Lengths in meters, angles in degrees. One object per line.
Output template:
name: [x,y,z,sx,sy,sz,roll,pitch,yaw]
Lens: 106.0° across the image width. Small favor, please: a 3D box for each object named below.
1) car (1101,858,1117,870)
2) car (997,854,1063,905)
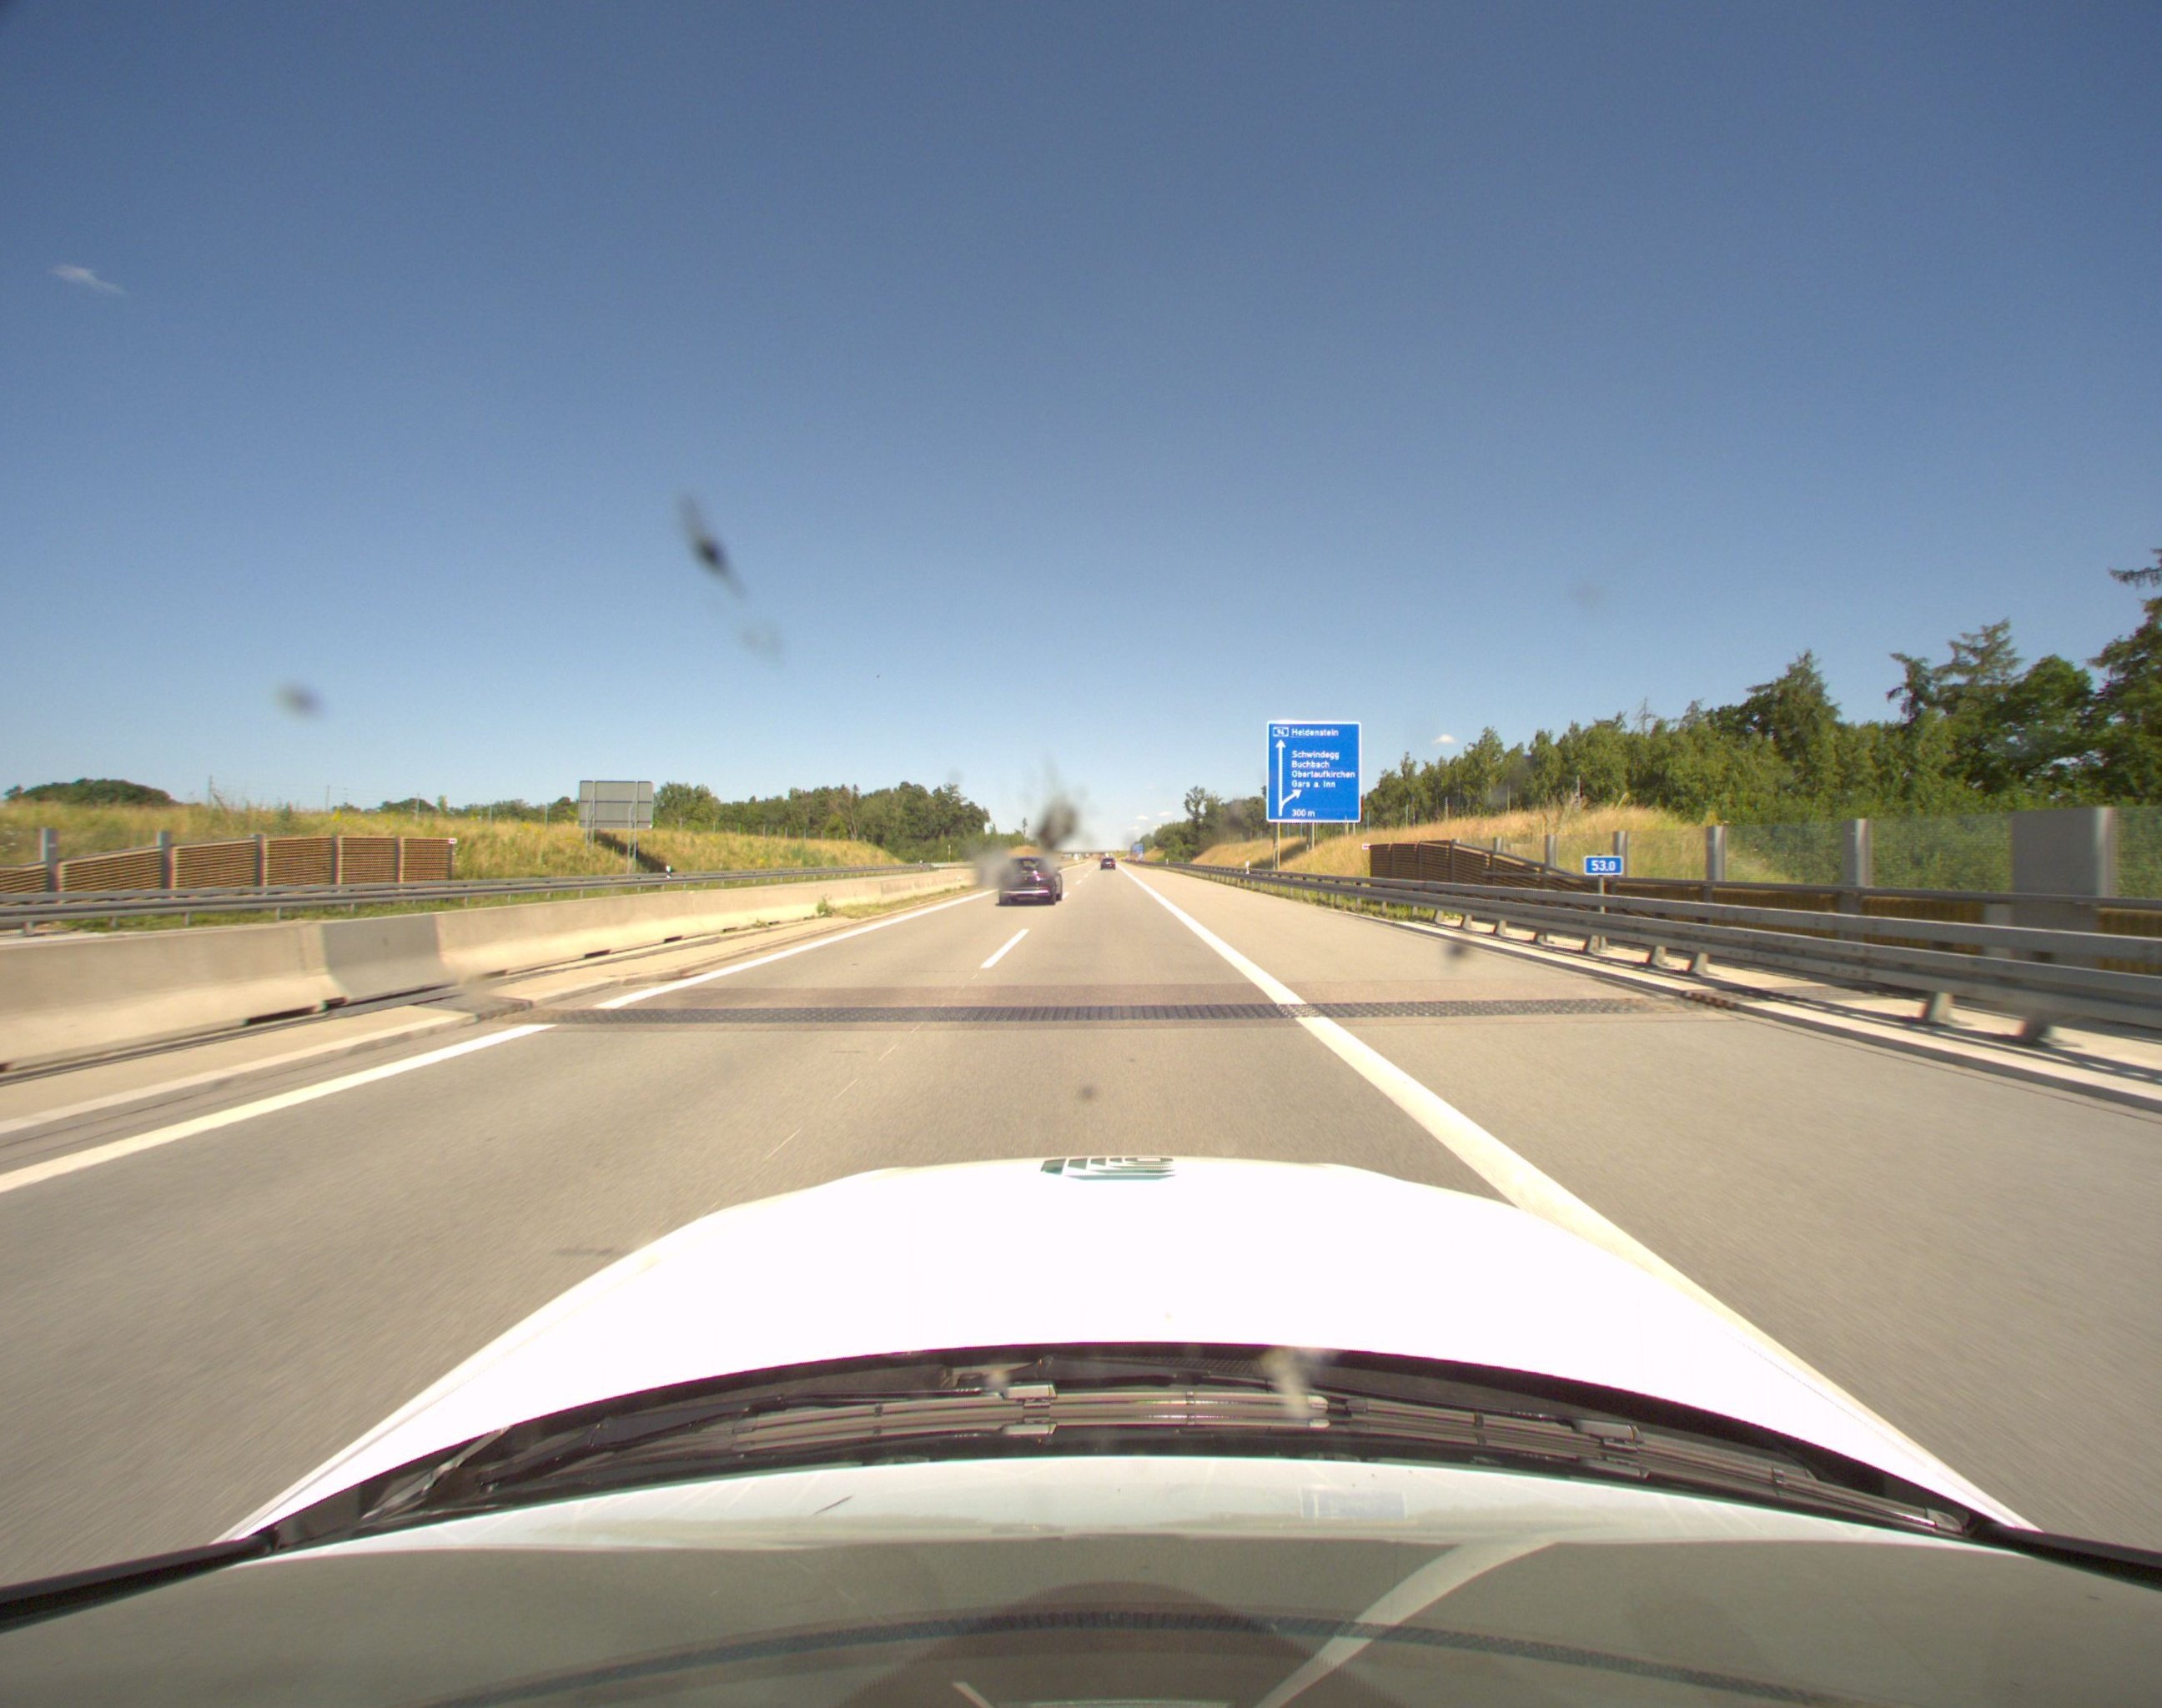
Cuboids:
car: [3.313,1.160,95.970,1.783,1.374,3.919,-1,0,2]
car: [-1.640,0.800,27.918,1.715,1.587,5.225,-1,0,2]
